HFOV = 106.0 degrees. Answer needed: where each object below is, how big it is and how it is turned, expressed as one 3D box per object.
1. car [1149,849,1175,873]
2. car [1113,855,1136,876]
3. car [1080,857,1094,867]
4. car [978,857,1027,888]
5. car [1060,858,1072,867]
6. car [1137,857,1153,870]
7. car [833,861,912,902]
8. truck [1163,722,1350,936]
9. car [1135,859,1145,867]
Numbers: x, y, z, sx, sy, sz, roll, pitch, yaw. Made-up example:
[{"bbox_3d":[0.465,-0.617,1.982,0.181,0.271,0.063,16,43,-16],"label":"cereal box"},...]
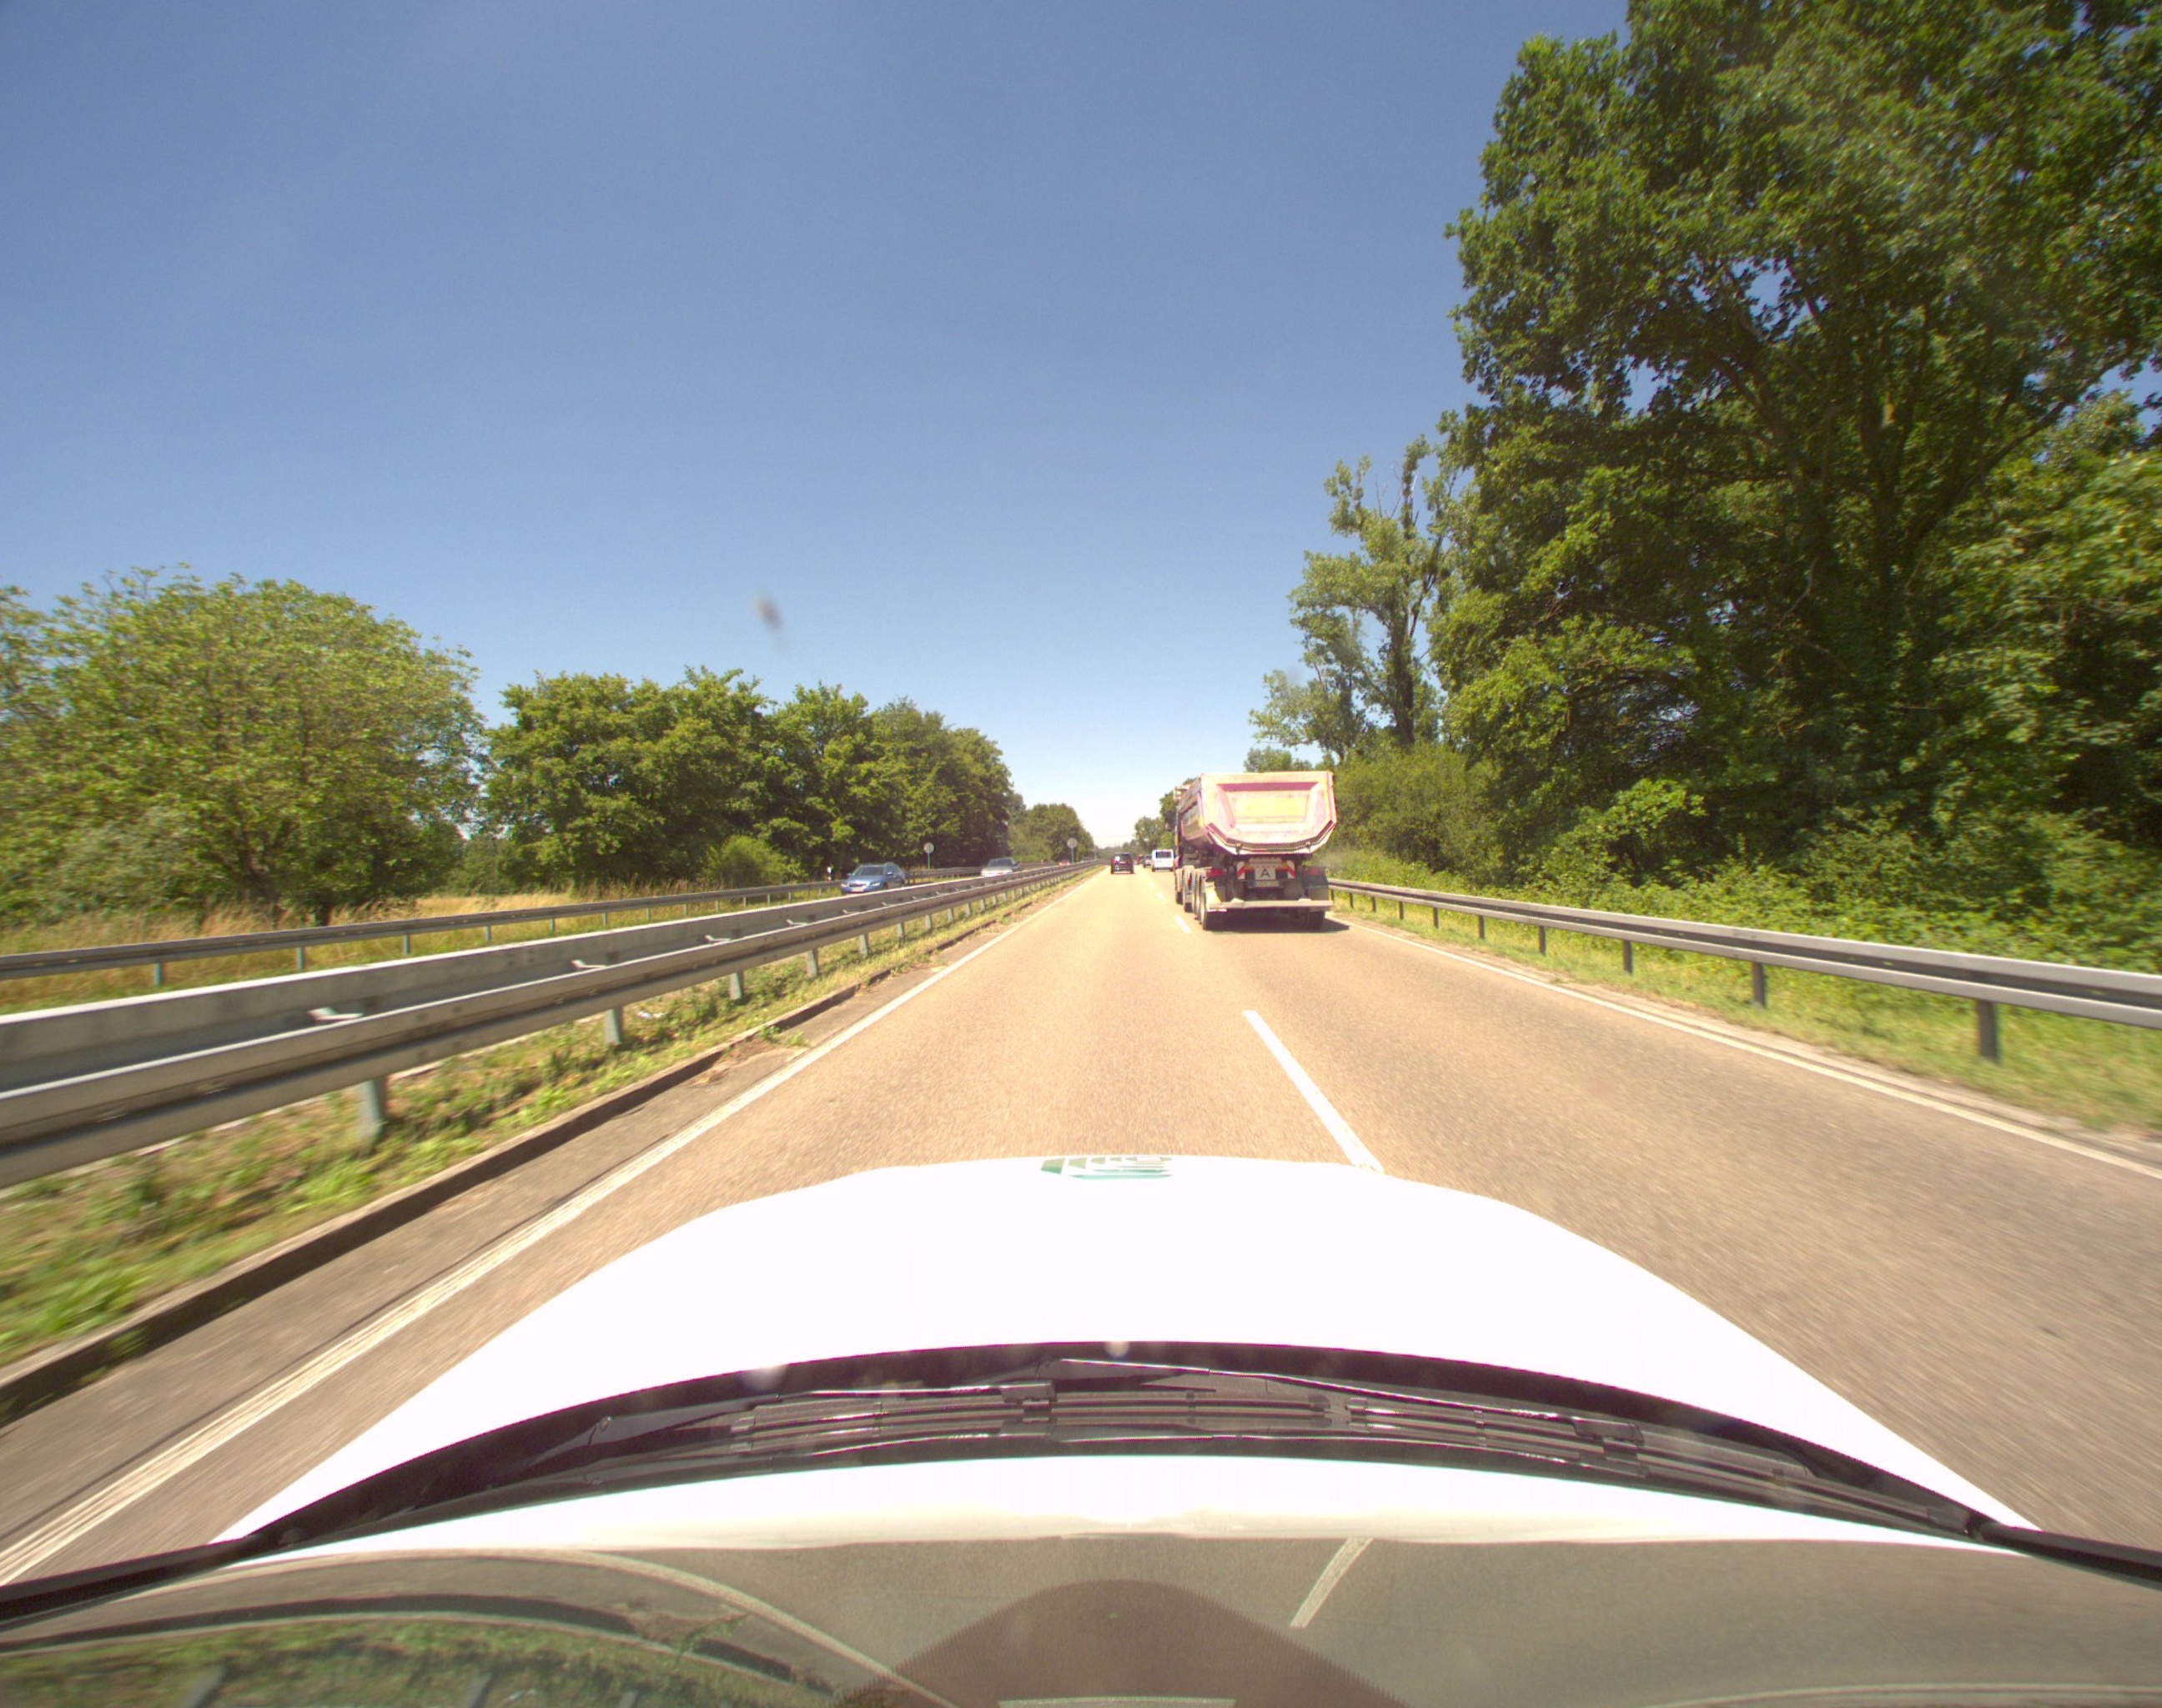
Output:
[{"bbox_3d":[7.397,0.625,74.747,1.986,2.077,4.001,-3,0,2],"label":"car"},{"bbox_3d":[3.582,0.980,67.997,1.850,1.671,4.002,0,-2,2],"label":"car"},{"bbox_3d":[1.100,1.393,145.557,1.984,1.794,4.753,-3,0,4],"label":"car"},{"bbox_3d":[-4.567,1.055,48.104,1.984,1.632,4.558,-3,0,5],"label":"car"},{"bbox_3d":[-2.704,1.500,144.515,1.790,1.391,4.003,-3,0,3],"label":"car"},{"bbox_3d":[7.569,1.062,96.259,1.597,1.420,3.523,-3,0,1],"label":"car"},{"bbox_3d":[-8.856,1.121,35.039,1.804,1.543,4.933,-3,0,3],"label":"car"},{"bbox_3d":[3.868,-0.436,21.226,2.709,3.930,12.378,-1,0,3],"label":"truck"},{"bbox_3d":[10.875,1.647,149.576,1.597,1.420,3.523,-3,0,1],"label":"car"}]
